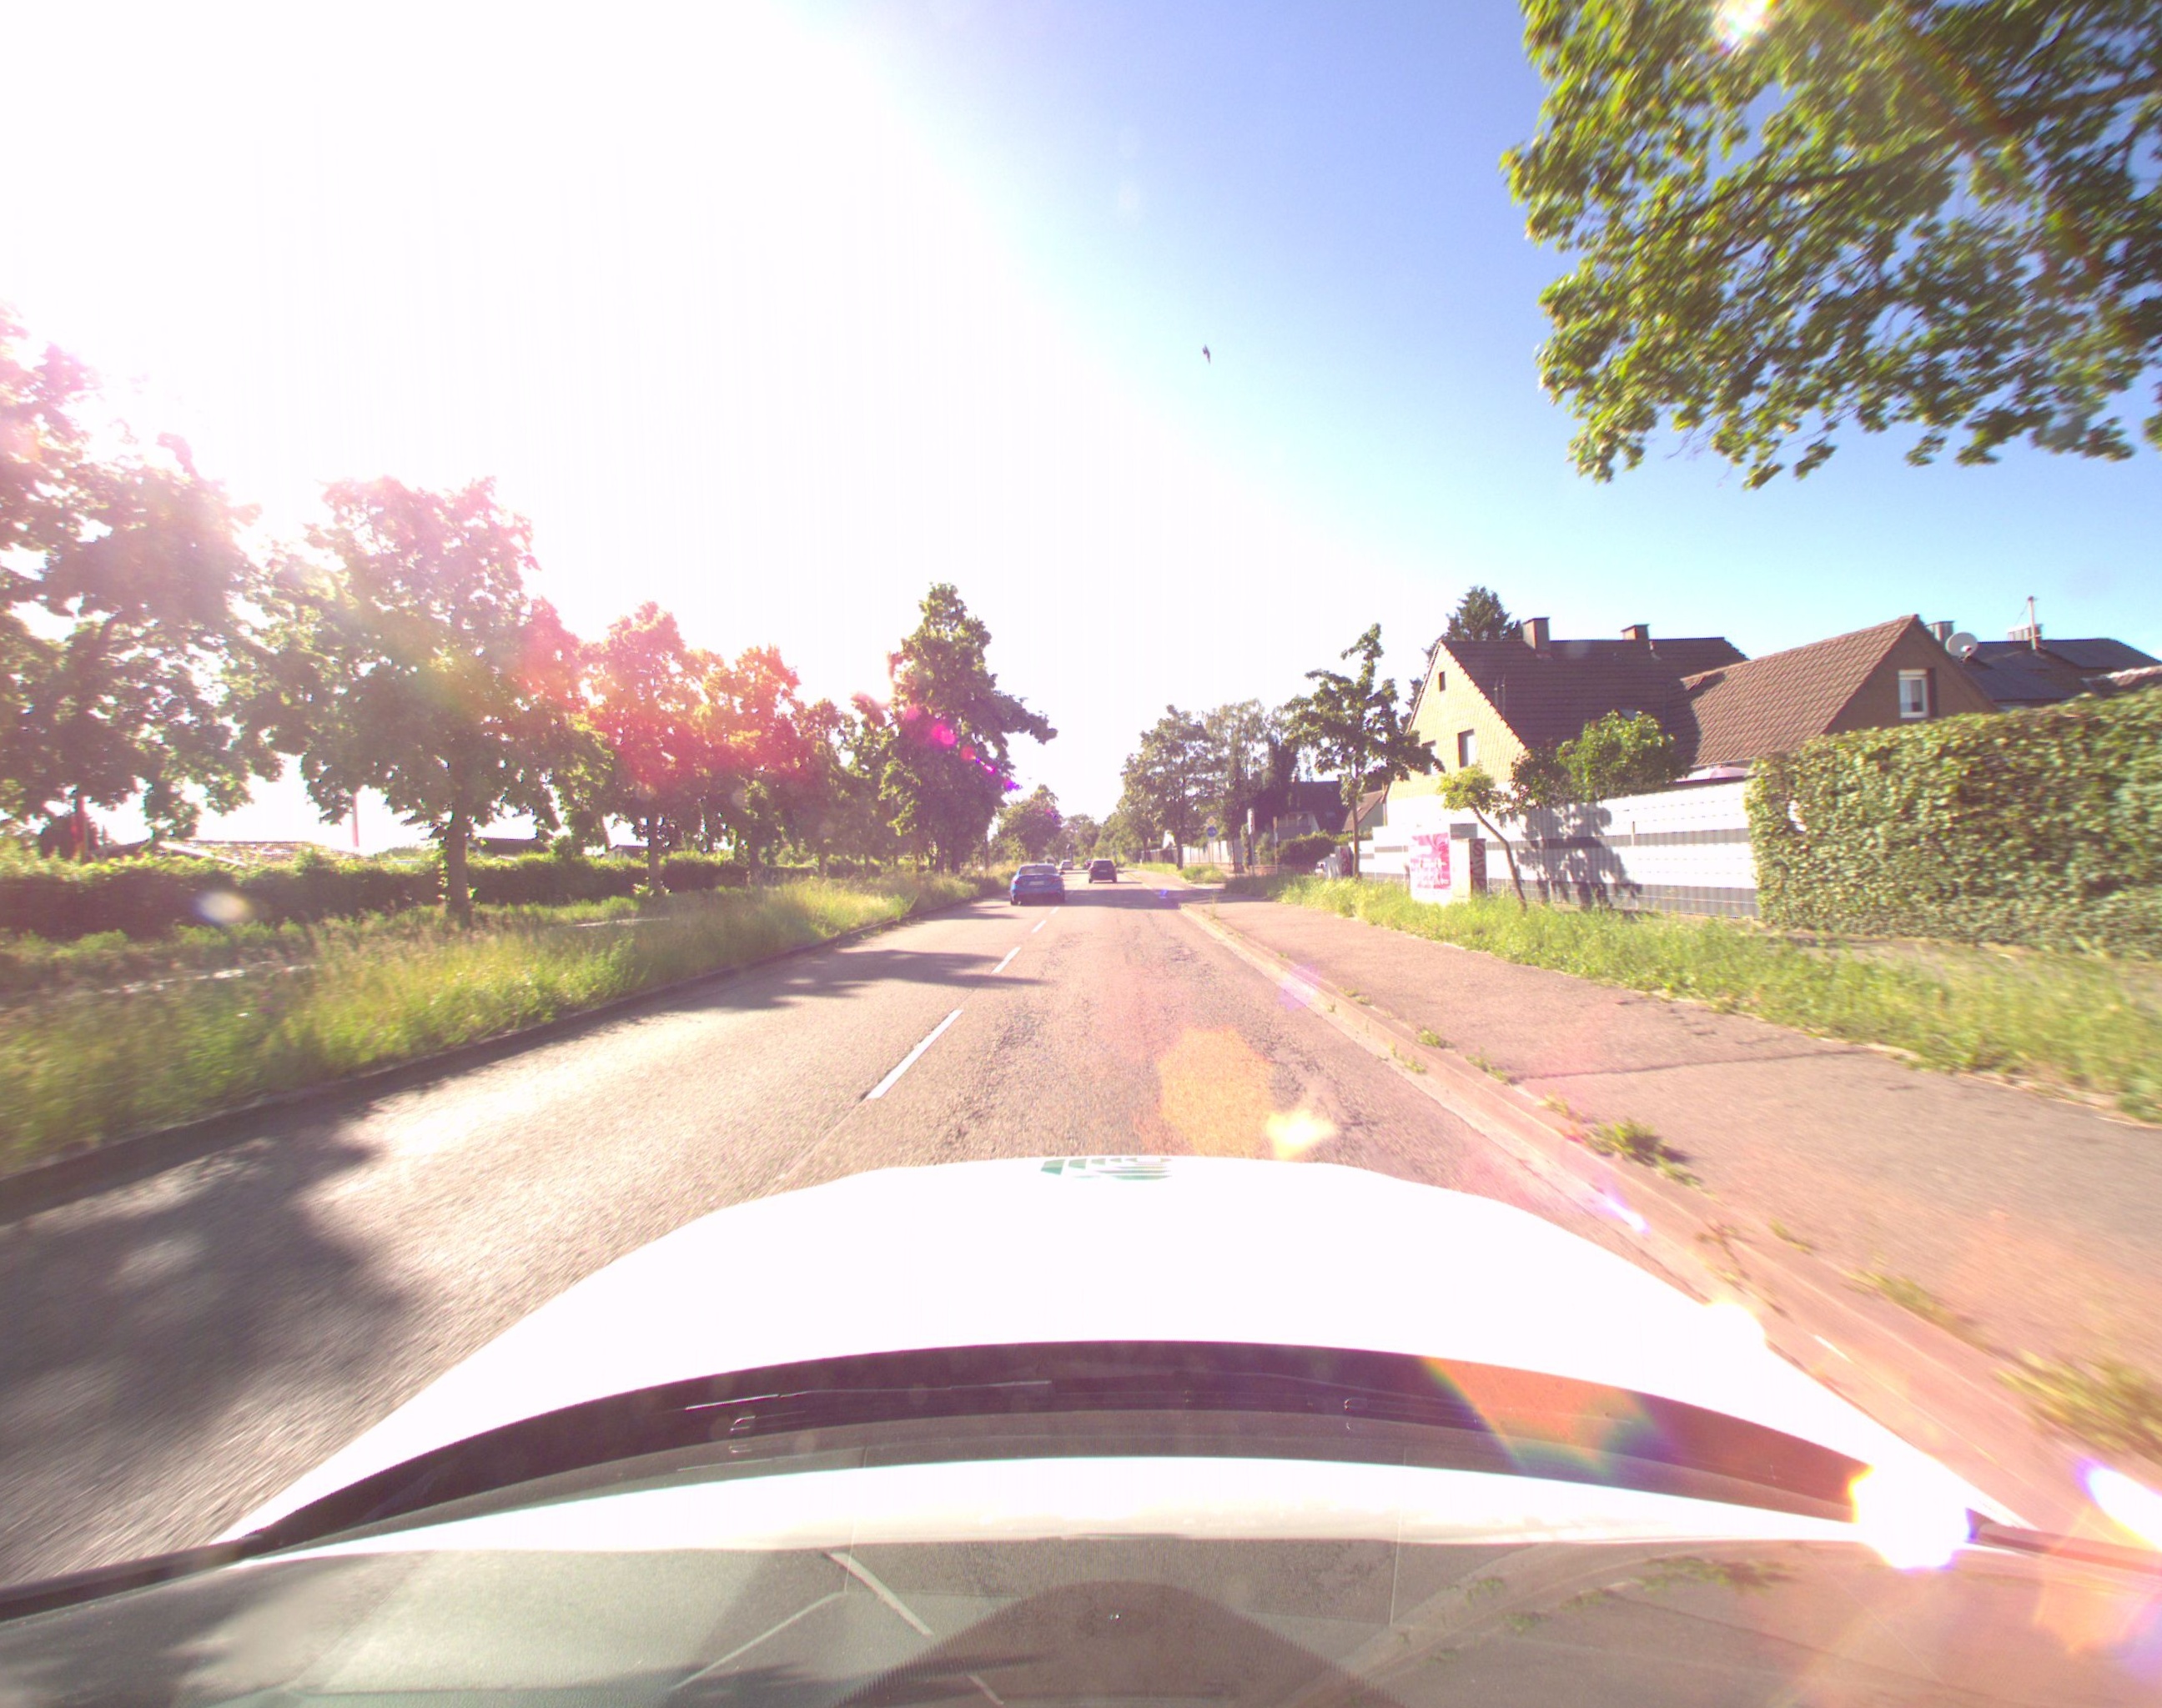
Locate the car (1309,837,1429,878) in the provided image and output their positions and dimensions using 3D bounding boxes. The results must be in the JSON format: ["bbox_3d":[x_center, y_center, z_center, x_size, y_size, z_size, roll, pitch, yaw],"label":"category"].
[{"bbox_3d":[13.195,0.148,37.455,4.735,1.656,2.067,-3,0,-5],"label":"car"}]

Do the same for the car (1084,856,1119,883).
[{"bbox_3d":[1.225,0.923,51.327,1.911,1.579,4.178,-2,0,-2],"label":"car"}]

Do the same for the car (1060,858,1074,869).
[{"bbox_3d":[-2.009,1.305,116.658,1.909,1.512,4.066,-2,0,0],"label":"car"}]

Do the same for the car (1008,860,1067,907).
[{"bbox_3d":[-1.497,1.027,29.453,1.833,1.474,4.183,-3,-1,0],"label":"car"}]

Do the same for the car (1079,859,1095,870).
[{"bbox_3d":[0.876,1.557,121.419,1.912,1.678,4.005,-1,-1,-5],"label":"car"}]
